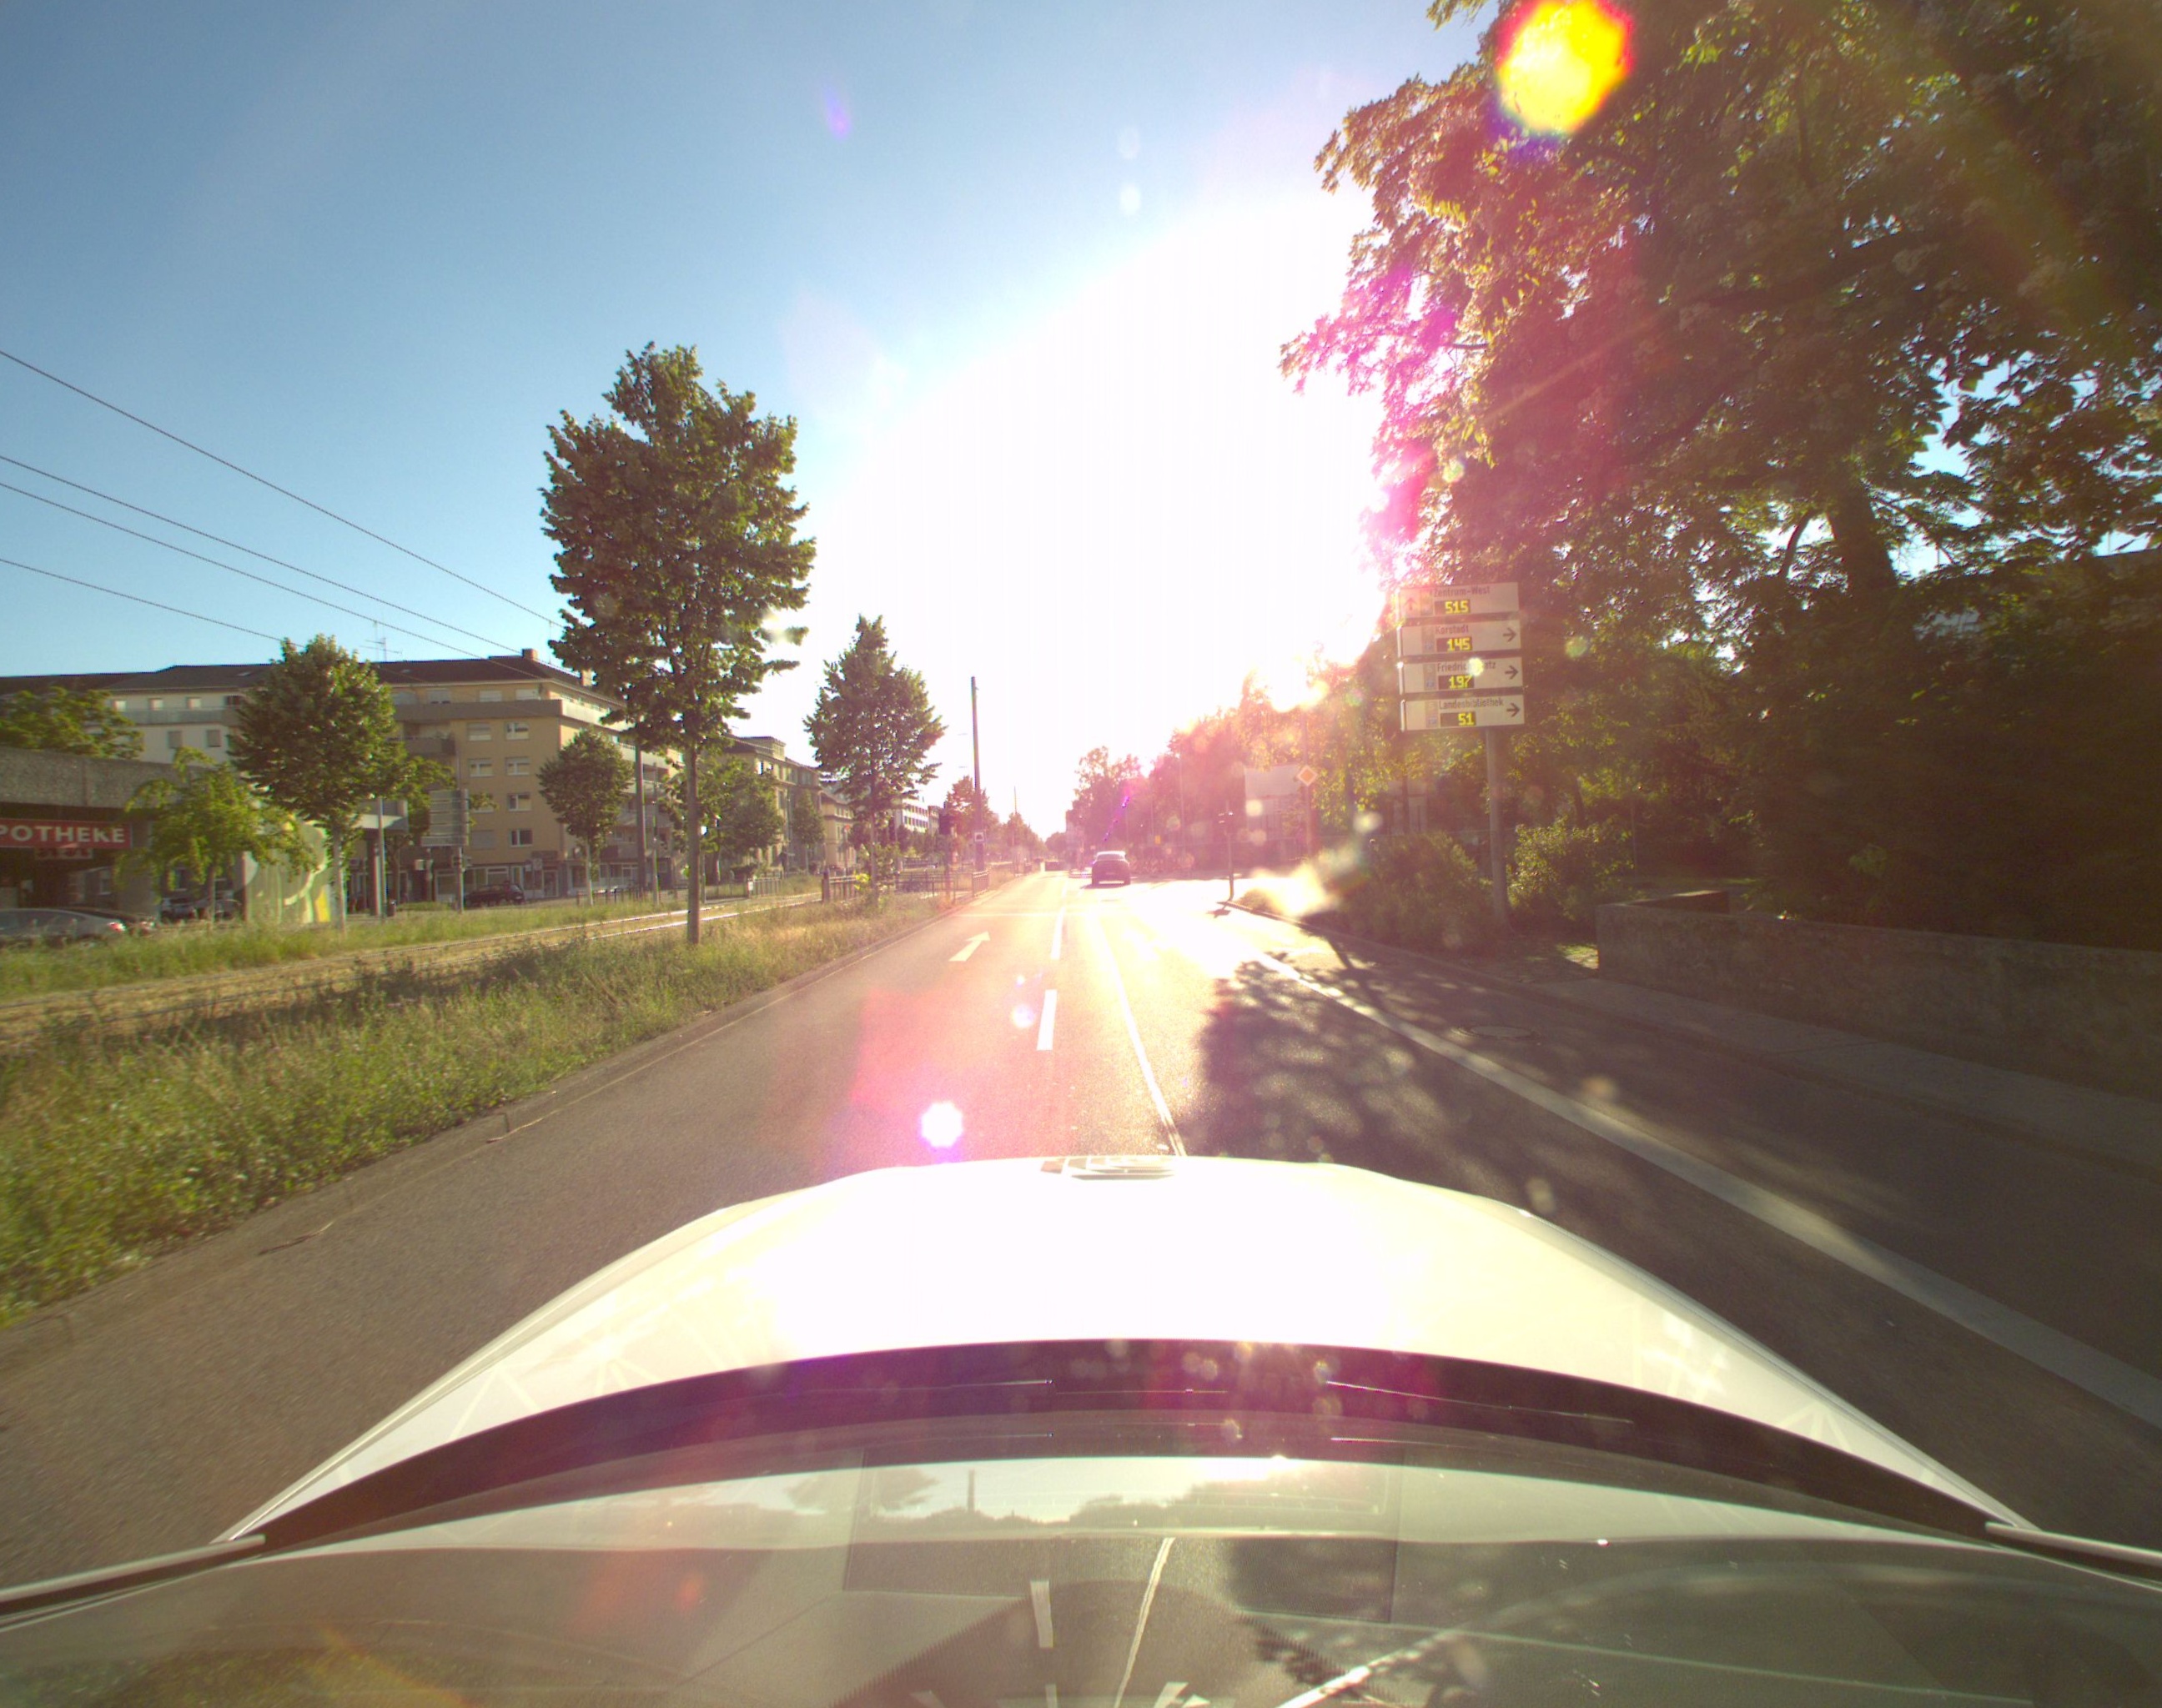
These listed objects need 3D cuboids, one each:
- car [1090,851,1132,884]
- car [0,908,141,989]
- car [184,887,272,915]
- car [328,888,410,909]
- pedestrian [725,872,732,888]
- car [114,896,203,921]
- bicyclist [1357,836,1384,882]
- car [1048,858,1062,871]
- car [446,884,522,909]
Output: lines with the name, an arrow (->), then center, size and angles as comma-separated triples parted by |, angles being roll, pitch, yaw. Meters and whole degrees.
car -> 1.537, 0.701, 42.951 | 2.000, 1.659, 3.997 | 0, -1, -1
car -> -24.061, 2.115, 17.705 | 1.864, 1.588, 4.636 | 0, -1, -1
car -> -60.109, 3.315, 57.467 | 3.976, 1.743, 1.999 | -2, 0, -2
car -> -50.820, 3.158, 58.174 | 3.976, 1.303, 1.999 | -2, 0, -2
pedestrian -> -36.234, 2.656, 83.786 | 0.518, 1.555, 0.447 | -2, -1, -5
car -> -65.159, 3.839, 57.565 | 3.977, 1.434, 1.846 | -3, 0, -3
bicyclist -> 10.353, 0.183, 29.138 | 0.582, 1.614, 0.902 | -2, -1, -2
car -> -3.565, 1.464, 111.106 | 1.822, 1.659, 3.997 | 0, -1, -1
car -> -42.541, 3.016, 58.078 | 3.977, 1.496, 1.846 | -3, 0, -3
